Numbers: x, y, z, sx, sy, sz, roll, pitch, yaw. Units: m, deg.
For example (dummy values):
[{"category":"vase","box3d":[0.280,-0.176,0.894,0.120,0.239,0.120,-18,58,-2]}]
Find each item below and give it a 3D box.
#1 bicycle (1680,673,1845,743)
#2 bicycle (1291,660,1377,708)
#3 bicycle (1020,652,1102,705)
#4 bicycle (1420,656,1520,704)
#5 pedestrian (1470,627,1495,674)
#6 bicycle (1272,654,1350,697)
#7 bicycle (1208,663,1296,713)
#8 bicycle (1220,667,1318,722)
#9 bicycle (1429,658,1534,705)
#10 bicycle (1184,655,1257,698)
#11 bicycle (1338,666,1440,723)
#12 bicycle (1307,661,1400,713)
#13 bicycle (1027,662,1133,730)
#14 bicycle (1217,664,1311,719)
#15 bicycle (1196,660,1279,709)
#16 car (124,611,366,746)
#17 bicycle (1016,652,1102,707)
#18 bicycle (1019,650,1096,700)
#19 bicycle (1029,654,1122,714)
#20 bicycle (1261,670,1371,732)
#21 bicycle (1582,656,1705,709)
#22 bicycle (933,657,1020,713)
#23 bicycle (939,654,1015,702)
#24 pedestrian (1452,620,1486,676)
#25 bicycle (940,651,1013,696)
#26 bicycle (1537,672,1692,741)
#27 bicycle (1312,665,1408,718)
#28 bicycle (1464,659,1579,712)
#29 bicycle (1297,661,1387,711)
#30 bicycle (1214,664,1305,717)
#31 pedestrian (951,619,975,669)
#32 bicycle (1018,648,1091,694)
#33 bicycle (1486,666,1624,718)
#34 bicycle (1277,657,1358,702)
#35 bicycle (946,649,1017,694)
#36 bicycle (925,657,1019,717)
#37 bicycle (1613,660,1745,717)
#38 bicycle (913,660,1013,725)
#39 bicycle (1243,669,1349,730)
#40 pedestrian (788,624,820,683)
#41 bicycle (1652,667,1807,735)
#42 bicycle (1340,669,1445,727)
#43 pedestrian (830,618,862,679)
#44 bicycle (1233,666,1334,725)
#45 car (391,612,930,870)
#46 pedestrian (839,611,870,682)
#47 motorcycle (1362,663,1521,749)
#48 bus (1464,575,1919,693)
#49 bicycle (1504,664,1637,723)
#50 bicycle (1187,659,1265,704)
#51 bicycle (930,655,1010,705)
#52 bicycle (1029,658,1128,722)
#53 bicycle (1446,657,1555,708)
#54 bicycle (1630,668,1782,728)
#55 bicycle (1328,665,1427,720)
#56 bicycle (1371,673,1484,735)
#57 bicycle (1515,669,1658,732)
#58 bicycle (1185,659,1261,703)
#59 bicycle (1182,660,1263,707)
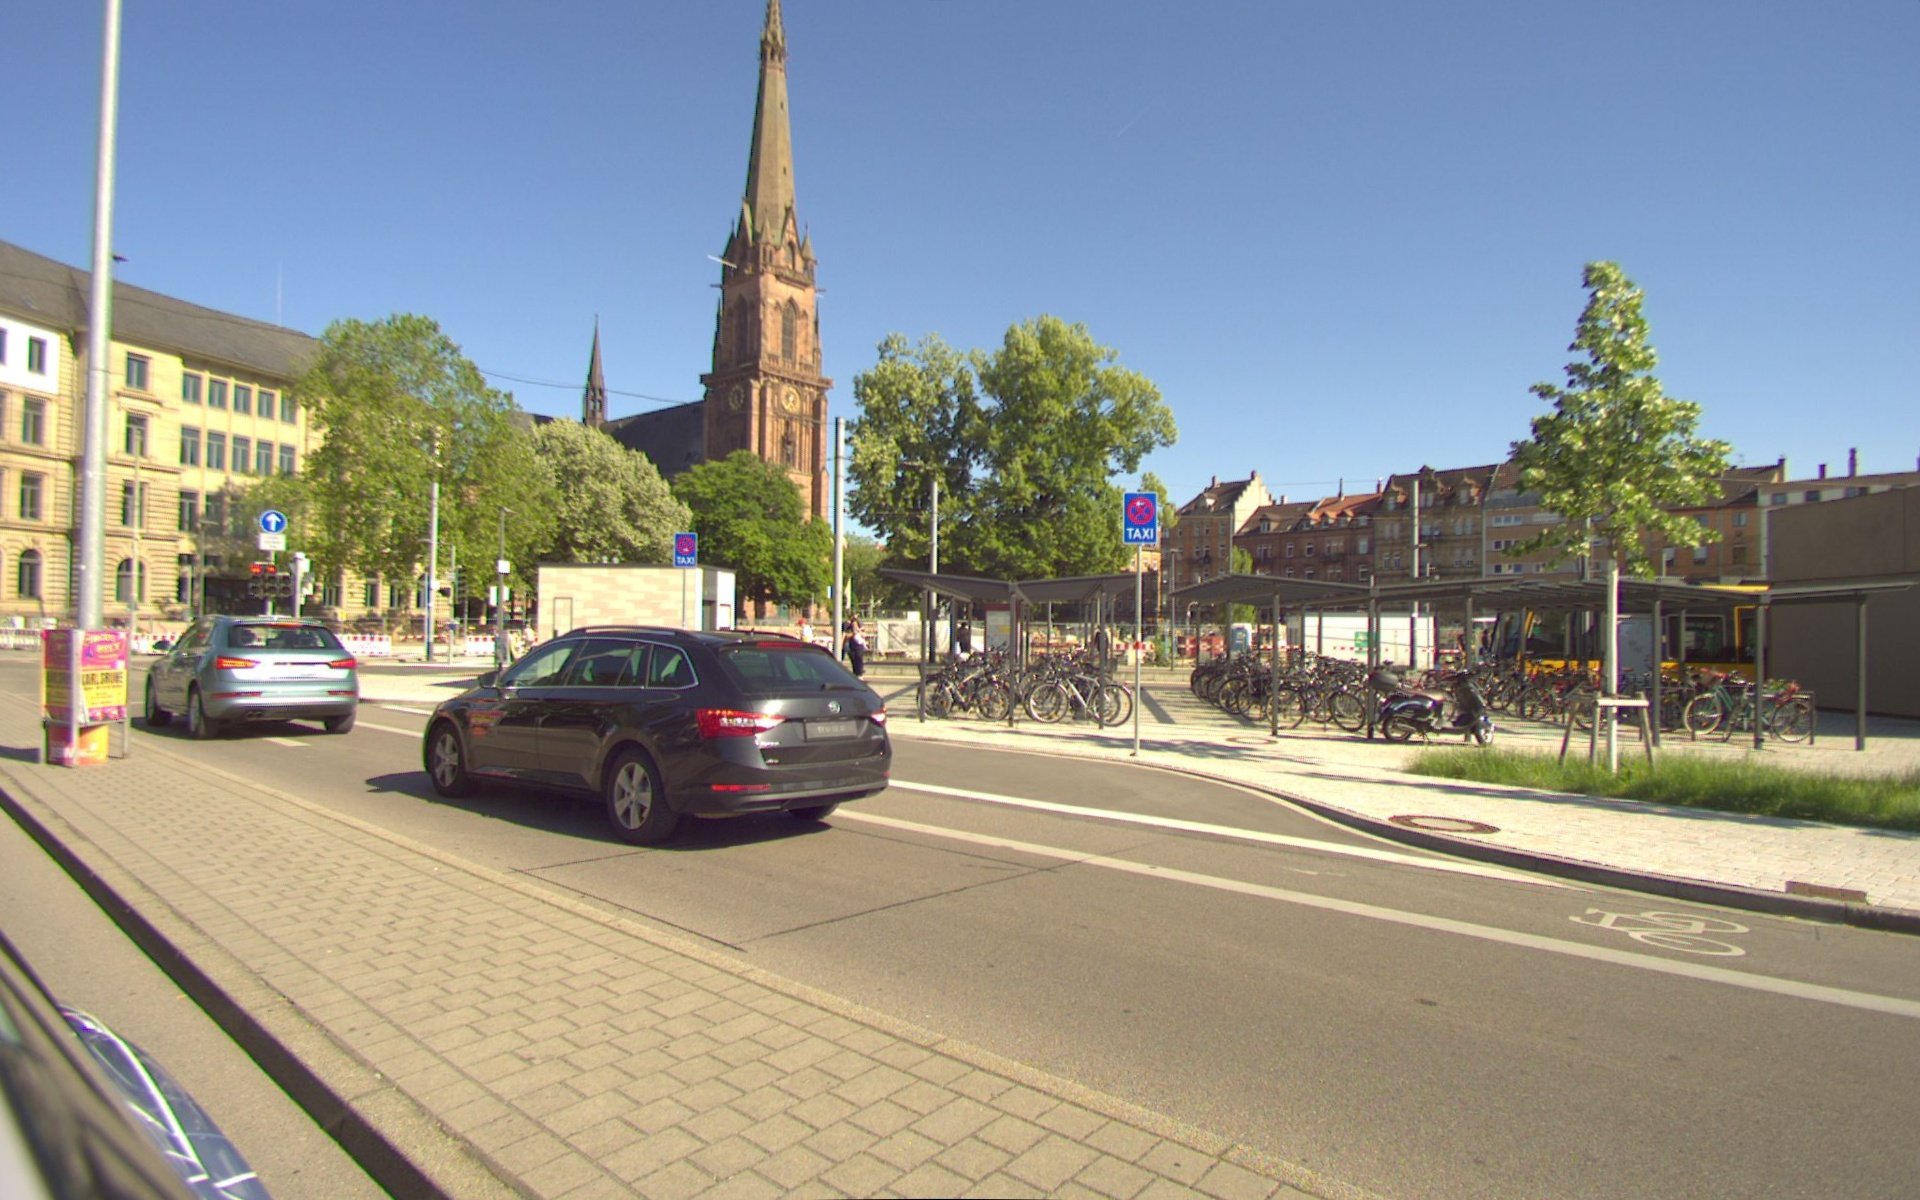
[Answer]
[{"category":"bicycle","box3d":[12.761,1.715,16.140,2.048,1.045,0.533,-1,0,8]},{"category":"bicycle","box3d":[7.982,1.790,21.625,1.661,0.980,0.406,-1,0,3]},{"category":"bicycle","box3d":[2.186,1.695,22.030,1.755,1.083,0.406,1,0,6]},{"category":"bicycle","box3d":[12.293,1.920,24.432,2.048,1.045,0.533,1,3,8]},{"category":"pedestrian","box3d":[18.937,1.830,36.667,0.608,1.683,0.541,0,-2,4]},{"category":"bicycle","box3d":[8.285,1.786,23.917,1.661,0.980,0.406,-1,0,3]},{"category":"bicycle","box3d":[5.918,1.786,20.566,1.661,0.980,0.406,1,-5,3]},{"category":"bicycle","box3d":[5.722,1.751,18.770,1.661,0.980,0.406,-1,0,3]},{"category":"bicycle","box3d":[12.024,1.880,23.376,2.048,1.045,0.533,-1,-4,8]},{"category":"bicycle","box3d":[6.249,1.837,24.314,1.661,0.980,0.406,1,-5,3]},{"category":"bicycle","box3d":[7.817,1.723,18.462,1.661,0.980,0.406,-1,0,3]},{"category":"bicycle","box3d":[7.851,1.731,20.231,1.661,0.980,0.406,-1,0,3]},{"category":"bicycle","box3d":[2.016,1.607,17.094,1.753,1.083,0.406,1,-3,6]},{"category":"bicycle","box3d":[5.808,1.738,19.378,1.661,0.980,0.406,1,0,3]},{"category":"bicycle","box3d":[5.919,1.806,21.642,1.661,0.980,0.406,1,-5,3]},{"category":"car","box3d":[-10.045,1.015,14.097,4.256,1.594,1.769,-1,-4,42]},{"category":"bicycle","box3d":[2.046,1.643,20.975,1.755,1.083,0.406,1,0,6]},{"category":"bicycle","box3d":[2.266,1.732,23.500,1.755,1.083,0.406,1,0,6]},{"category":"bicycle","box3d":[2.229,1.621,19.584,1.755,1.083,0.406,1,0,6]},{"category":"bicycle","box3d":[5.927,1.686,16.892,1.661,0.980,0.406,-1,0,3]},{"category":"bicycle","box3d":[14.071,1.697,20.880,2.048,1.045,0.533,-1,0,8]},{"category":"bicycle","box3d":[0.322,1.665,19.947,1.663,1.006,0.406,2,0,8]},{"category":"bicycle","box3d":[0.378,1.706,22.286,1.663,1.006,0.406,0,0,8]},{"category":"pedestrian","box3d":[17.842,1.687,35.466,0.793,1.931,0.769,0,-2,4]},{"category":"bicycle","box3d":[0.387,1.702,23.664,1.663,1.006,0.406,0,0,8]},{"category":"bicycle","box3d":[10.566,1.712,16.392,2.048,1.045,0.533,-1,0,8]},{"category":"bicycle","box3d":[7.710,1.764,19.531,1.661,0.980,0.406,-1,0,3]},{"category":"bicycle","box3d":[11.770,1.796,21.267,2.048,1.045,0.533,-1,2,8]},{"category":"bicycle","box3d":[7.854,1.761,20.828,1.661,0.980,0.406,-1,0,3]},{"category":"bicycle","box3d":[5.895,1.782,19.961,1.661,0.980,0.406,1,0,3]},{"category":"pedestrian","box3d":[0.103,1.688,39.044,0.610,1.874,0.703,2,-2,-39]},{"category":"bicycle","box3d":[2.307,1.724,24.680,1.755,1.083,0.406,1,0,6]},{"category":"bicycle","box3d":[11.608,1.799,19.793,2.208,0.951,0.685,-1,0,7]},{"category":"bicycle","box3d":[8.066,1.789,22.841,1.661,0.980,0.406,-1,0,3]},{"category":"bicycle","box3d":[0.511,1.703,24.189,1.663,1.006,0.406,0,0,8]},{"category":"bicycle","box3d":[0.225,1.598,18.603,1.663,1.006,0.406,2,0,8]},{"category":"bicycle","box3d":[13.846,1.700,19.528,2.048,1.045,0.533,-1,0,8]},{"category":"bicycle","box3d":[0.061,1.575,17.385,1.663,1.006,0.406,2,0,8]},{"category":"bicycle","box3d":[5.787,1.710,17.465,1.661,0.980,0.406,1,0,3]},{"category":"pedestrian","box3d":[-4.358,1.494,28.345,0.695,1.635,0.618,0,-2,11]},{"category":"bicycle","box3d":[12.983,1.697,17.118,2.030,1.087,0.604,-1,0,7]},{"category":"bicycle","box3d":[7.637,1.726,17.894,1.661,0.980,0.406,-1,0,3]},{"category":"pedestrian","box3d":[-3.280,1.384,29.152,0.823,1.740,0.620,0,-2,4]},{"category":"bicycle","box3d":[5.809,1.710,18.190,1.661,0.980,0.406,1,0,3]},{"category":"car","box3d":[-2.636,0.928,8.207,4.780,1.516,1.795,-1,-4,40]},{"category":"pedestrian","box3d":[-2.831,1.253,27.220,0.614,1.874,0.699,0,-2,14]},{"category":"motorcycle","box3d":[7.187,1.571,15.162,2.059,1.228,0.569,-1,-2,3]},{"category":"bus","box3d":[21.911,0.933,28.654,13.462,3.095,2.859,0,-2,6]},{"category":"bicycle","box3d":[11.315,1.734,18.815,2.048,1.045,0.533,-1,0,8]},{"category":"bicycle","box3d":[6.047,1.861,23.053,1.661,0.980,0.406,1,-5,3]},{"category":"bicycle","box3d":[0.223,1.677,21.406,1.663,1.006,0.406,0,0,8]},{"category":"bicycle","box3d":[2.133,1.618,18.339,1.753,1.083,0.406,1,0,6]},{"category":"bicycle","box3d":[11.859,1.802,22.258,2.048,1.045,0.533,-1,2,8]},{"category":"bicycle","box3d":[13.473,1.764,18.332,2.117,1.005,0.690,-1,0,7]},{"category":"bicycle","box3d":[7.836,1.731,19.015,1.661,0.980,0.406,-1,0,3]},{"category":"bicycle","box3d":[7.762,1.724,16.824,1.661,0.980,0.406,-1,0,3]},{"category":"bicycle","box3d":[10.900,1.740,17.651,2.048,1.045,0.533,-1,0,8]},{"category":"bicycle","box3d":[6.130,1.882,23.626,1.661,0.980,0.406,1,-5,3]},{"category":"bicycle","box3d":[5.779,1.838,22.298,1.661,0.980,0.406,1,-5,3]}]
